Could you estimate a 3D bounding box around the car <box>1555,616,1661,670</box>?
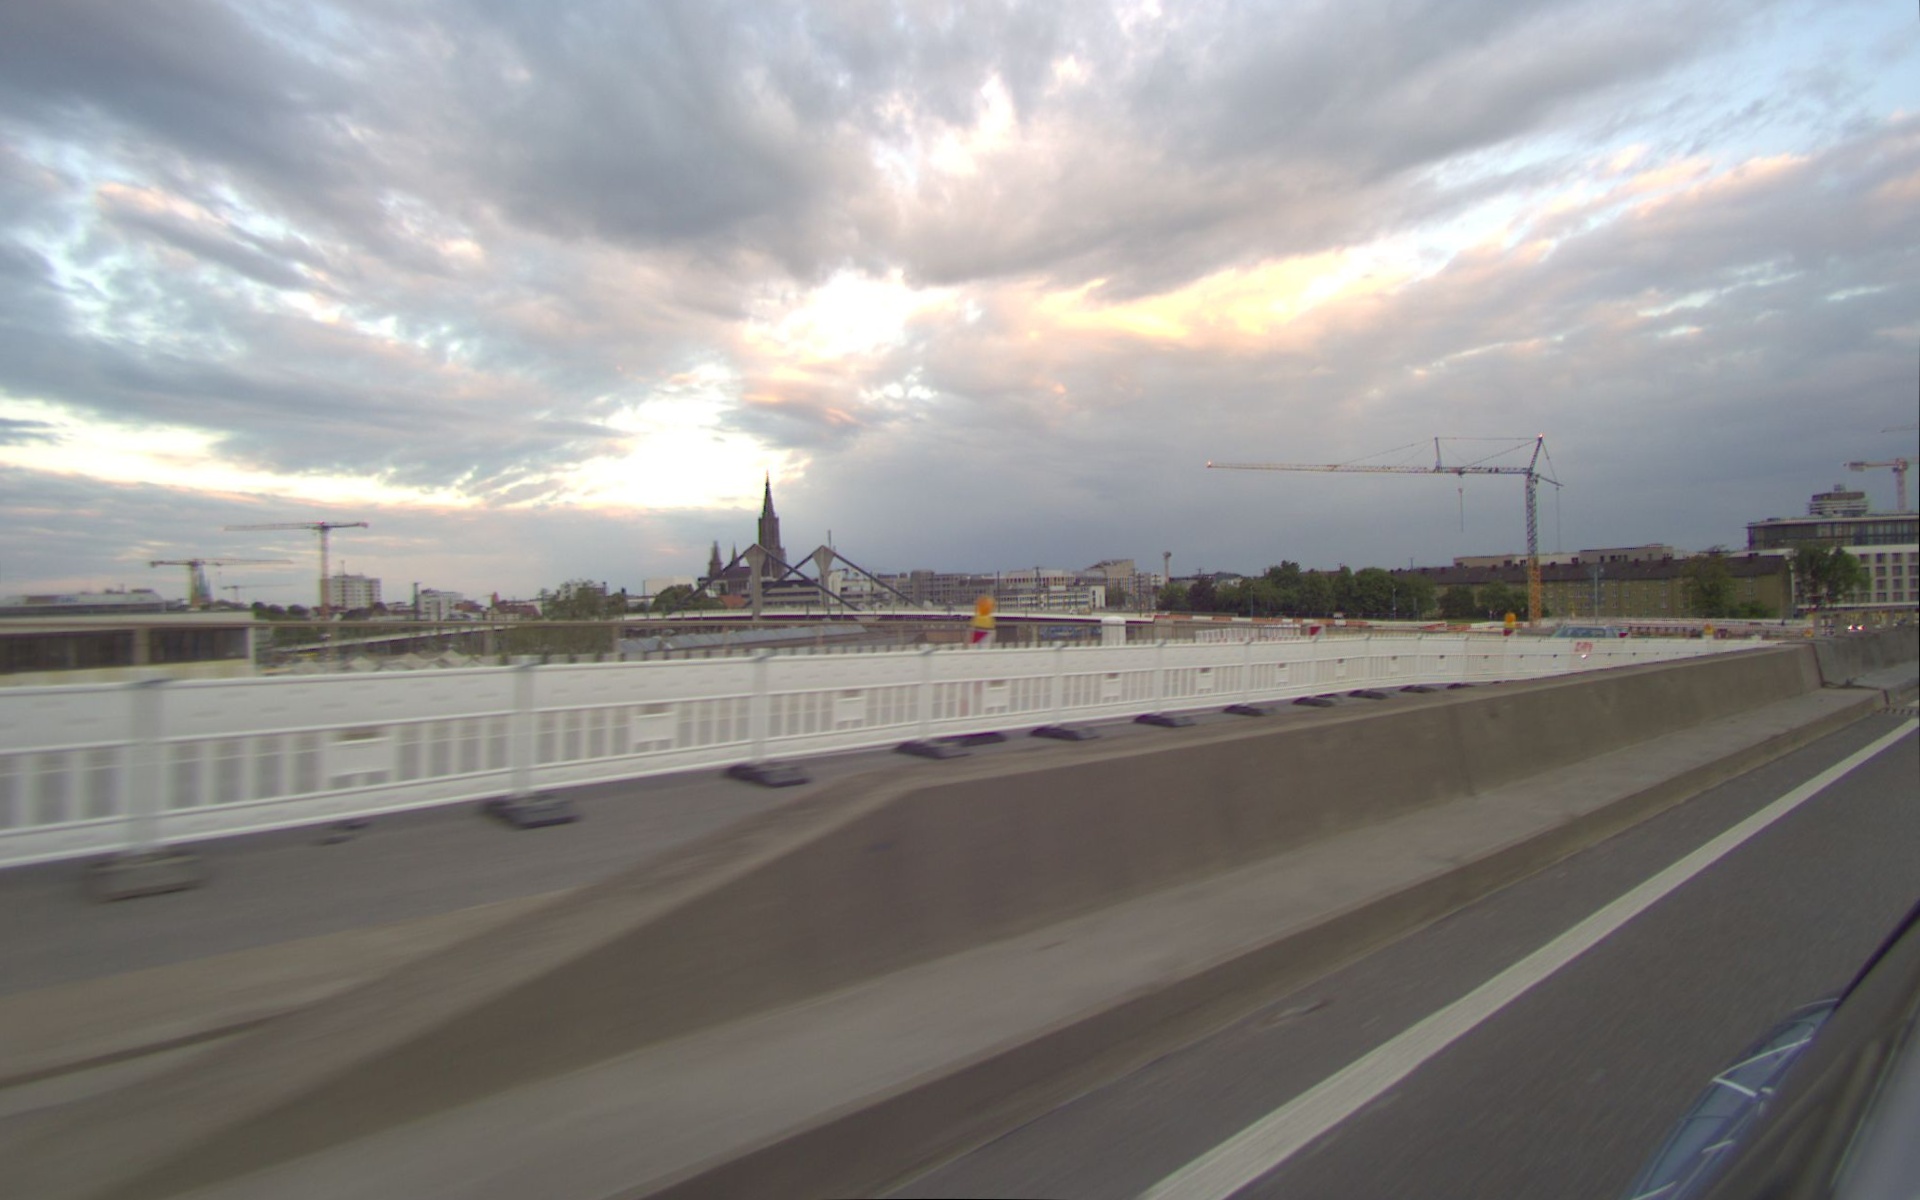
[{"bbox_3d":[20.075,1.278,31.294,3.931,1.510,1.752,0,0,-42],"label":"car"}]
